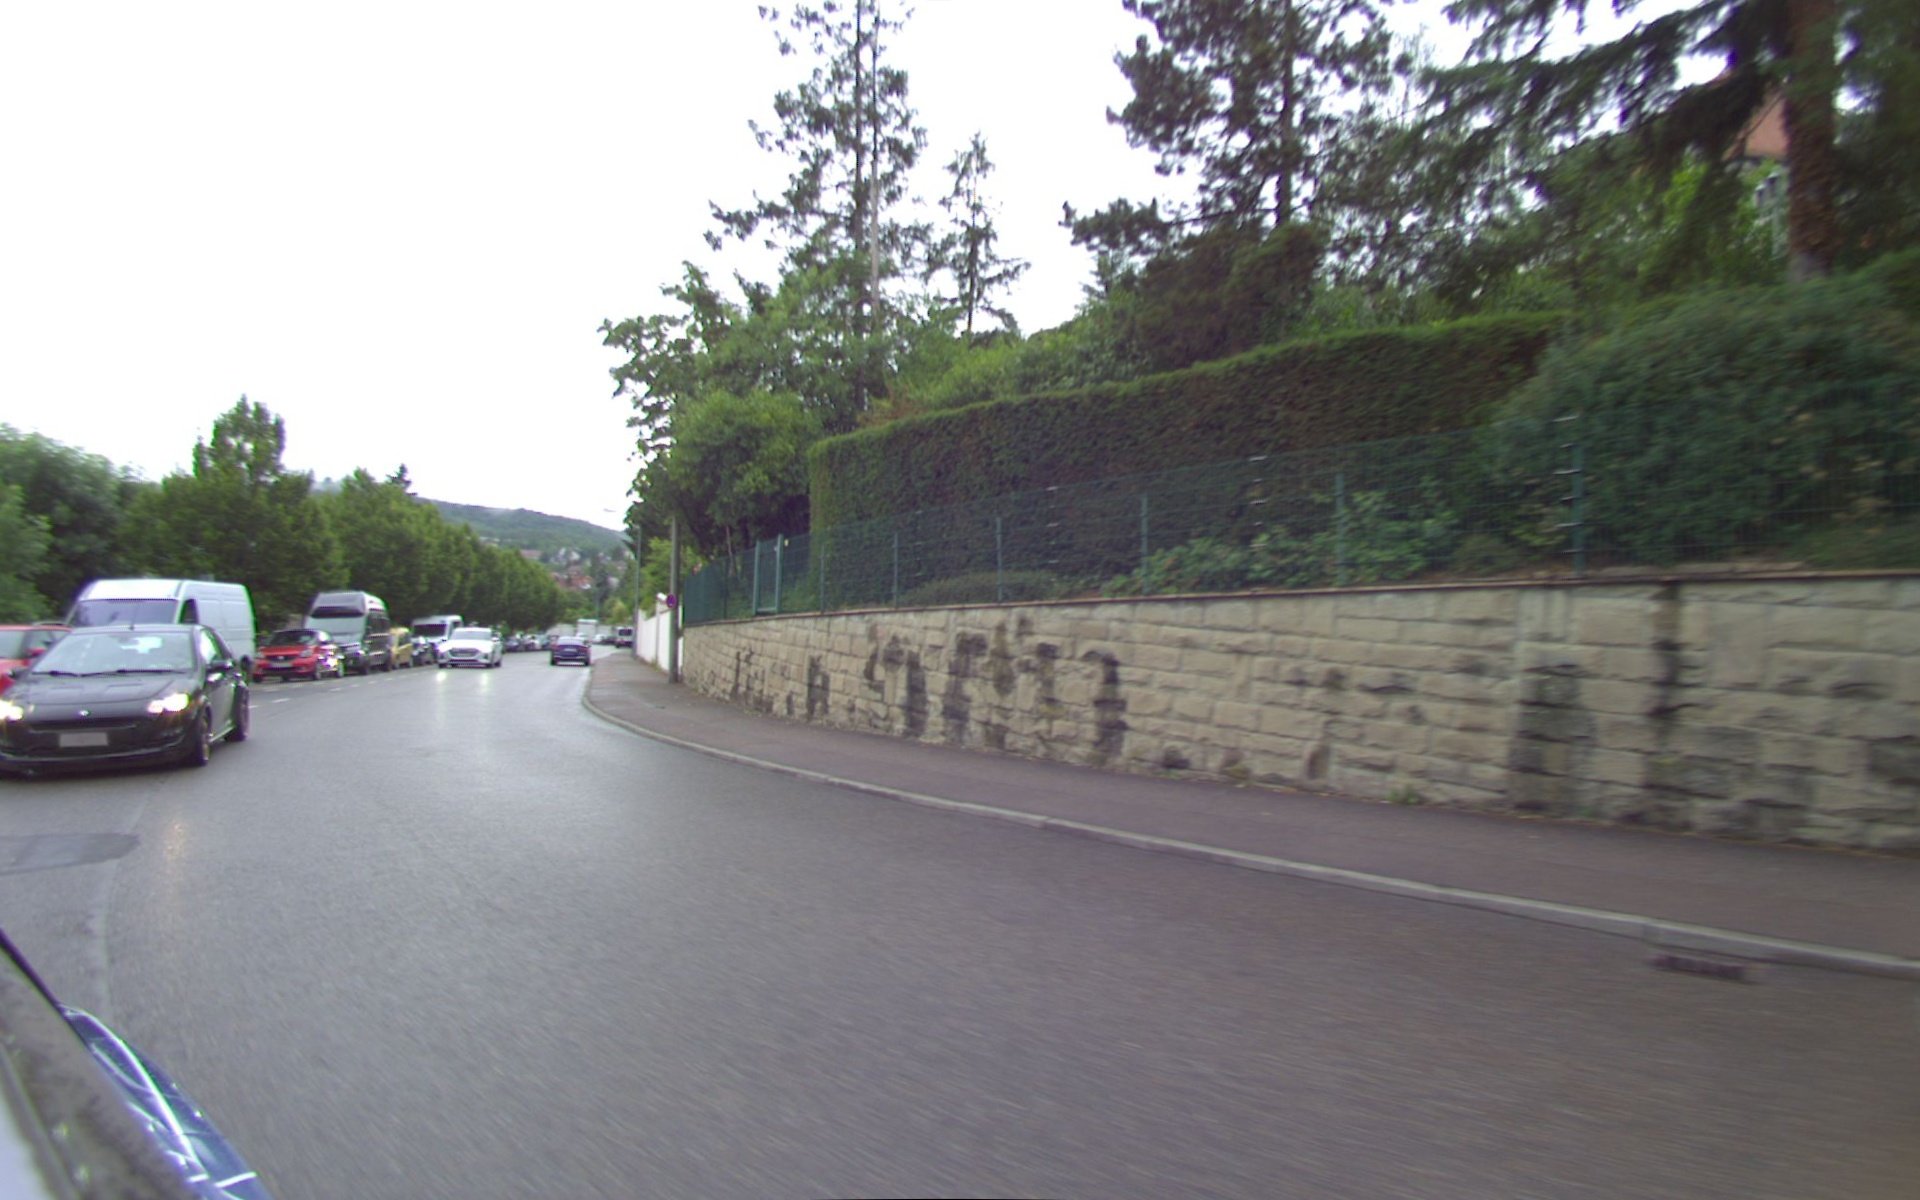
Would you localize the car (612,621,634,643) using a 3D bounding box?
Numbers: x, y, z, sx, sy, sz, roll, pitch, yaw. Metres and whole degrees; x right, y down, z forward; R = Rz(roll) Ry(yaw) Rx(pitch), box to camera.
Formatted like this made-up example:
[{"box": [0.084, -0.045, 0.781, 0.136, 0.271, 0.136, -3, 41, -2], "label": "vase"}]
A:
[{"box": [-39.987, 3.858, 120.266, 2.075, 2.501, 4.576, 2, -3, -14], "label": "car"}]

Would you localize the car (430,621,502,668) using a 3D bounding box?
[{"box": [-19.980, 1.745, 41.114, 2.154, 1.721, 4.898, 0, -1, -21], "label": "car"}]

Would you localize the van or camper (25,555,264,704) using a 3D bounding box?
[{"box": [-16.682, 0.647, 21.145, 2.045, 2.681, 5.613, 0, -2, -19], "label": "van or camper"}]

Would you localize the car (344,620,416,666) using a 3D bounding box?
[{"box": [-24.097, 1.802, 42.167, 1.697, 1.762, 4.416, -1, -2, -18], "label": "car"}]

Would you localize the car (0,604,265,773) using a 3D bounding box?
[{"box": [-9.060, 0.853, 11.169, 1.754, 1.497, 4.419, 1, -2, -28], "label": "car"}]

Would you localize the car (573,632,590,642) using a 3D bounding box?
[{"box": [-60.235, 5.902, 160.937, 1.820, 1.509, 3.778, 1, -2, -31], "label": "car"}]

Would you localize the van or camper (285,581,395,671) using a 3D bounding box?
[{"box": [-21.866, 0.953, 35.975, 2.095, 2.932, 5.745, 0, -2, -19], "label": "van or camper"}]

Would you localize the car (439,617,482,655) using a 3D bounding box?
[{"box": [-30.513, 2.216, 61.909, 1.697, 2.155, 4.416, -1, -2, -18], "label": "car"}]

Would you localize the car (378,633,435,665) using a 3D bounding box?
[{"box": [-25.989, 2.296, 47.661, 1.696, 1.385, 4.416, -1, -2, -20], "label": "car"}]

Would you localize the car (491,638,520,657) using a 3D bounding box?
[{"box": [-37.718, 3.924, 84.104, 1.697, 1.515, 4.213, -1, -2, -18], "label": "car"}]

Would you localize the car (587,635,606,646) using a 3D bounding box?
[{"box": [-53.960, 5.987, 150.267, 1.820, 1.509, 3.778, 3, -3, -31], "label": "car"}]

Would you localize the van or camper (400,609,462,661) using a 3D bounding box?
[{"box": [-28.119, 1.862, 53.974, 2.134, 2.575, 5.633, -1, -2, -19], "label": "van or camper"}]

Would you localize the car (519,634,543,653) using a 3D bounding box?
[{"box": [-40.081, 4.049, 94.567, 1.697, 1.641, 4.416, -1, -2, -18], "label": "car"}]

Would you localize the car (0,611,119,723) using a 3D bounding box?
[{"box": [-14.651, 0.995, 15.377, 1.597, 1.552, 4.228, 0, -2, -21], "label": "car"}]

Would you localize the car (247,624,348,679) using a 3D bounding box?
[{"box": [-19.872, 1.542, 30.530, 1.658, 1.552, 3.845, 0, -3, -19], "label": "car"}]

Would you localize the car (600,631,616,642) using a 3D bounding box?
[{"box": [-50.122, 5.208, 144.062, 1.820, 1.509, 3.779, 1, -2, -25], "label": "car"}]

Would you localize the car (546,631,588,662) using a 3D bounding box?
[{"box": [-19.456, 2.320, 50.189, 1.782, 1.441, 4.267, 3, -3, -20], "label": "car"}]
